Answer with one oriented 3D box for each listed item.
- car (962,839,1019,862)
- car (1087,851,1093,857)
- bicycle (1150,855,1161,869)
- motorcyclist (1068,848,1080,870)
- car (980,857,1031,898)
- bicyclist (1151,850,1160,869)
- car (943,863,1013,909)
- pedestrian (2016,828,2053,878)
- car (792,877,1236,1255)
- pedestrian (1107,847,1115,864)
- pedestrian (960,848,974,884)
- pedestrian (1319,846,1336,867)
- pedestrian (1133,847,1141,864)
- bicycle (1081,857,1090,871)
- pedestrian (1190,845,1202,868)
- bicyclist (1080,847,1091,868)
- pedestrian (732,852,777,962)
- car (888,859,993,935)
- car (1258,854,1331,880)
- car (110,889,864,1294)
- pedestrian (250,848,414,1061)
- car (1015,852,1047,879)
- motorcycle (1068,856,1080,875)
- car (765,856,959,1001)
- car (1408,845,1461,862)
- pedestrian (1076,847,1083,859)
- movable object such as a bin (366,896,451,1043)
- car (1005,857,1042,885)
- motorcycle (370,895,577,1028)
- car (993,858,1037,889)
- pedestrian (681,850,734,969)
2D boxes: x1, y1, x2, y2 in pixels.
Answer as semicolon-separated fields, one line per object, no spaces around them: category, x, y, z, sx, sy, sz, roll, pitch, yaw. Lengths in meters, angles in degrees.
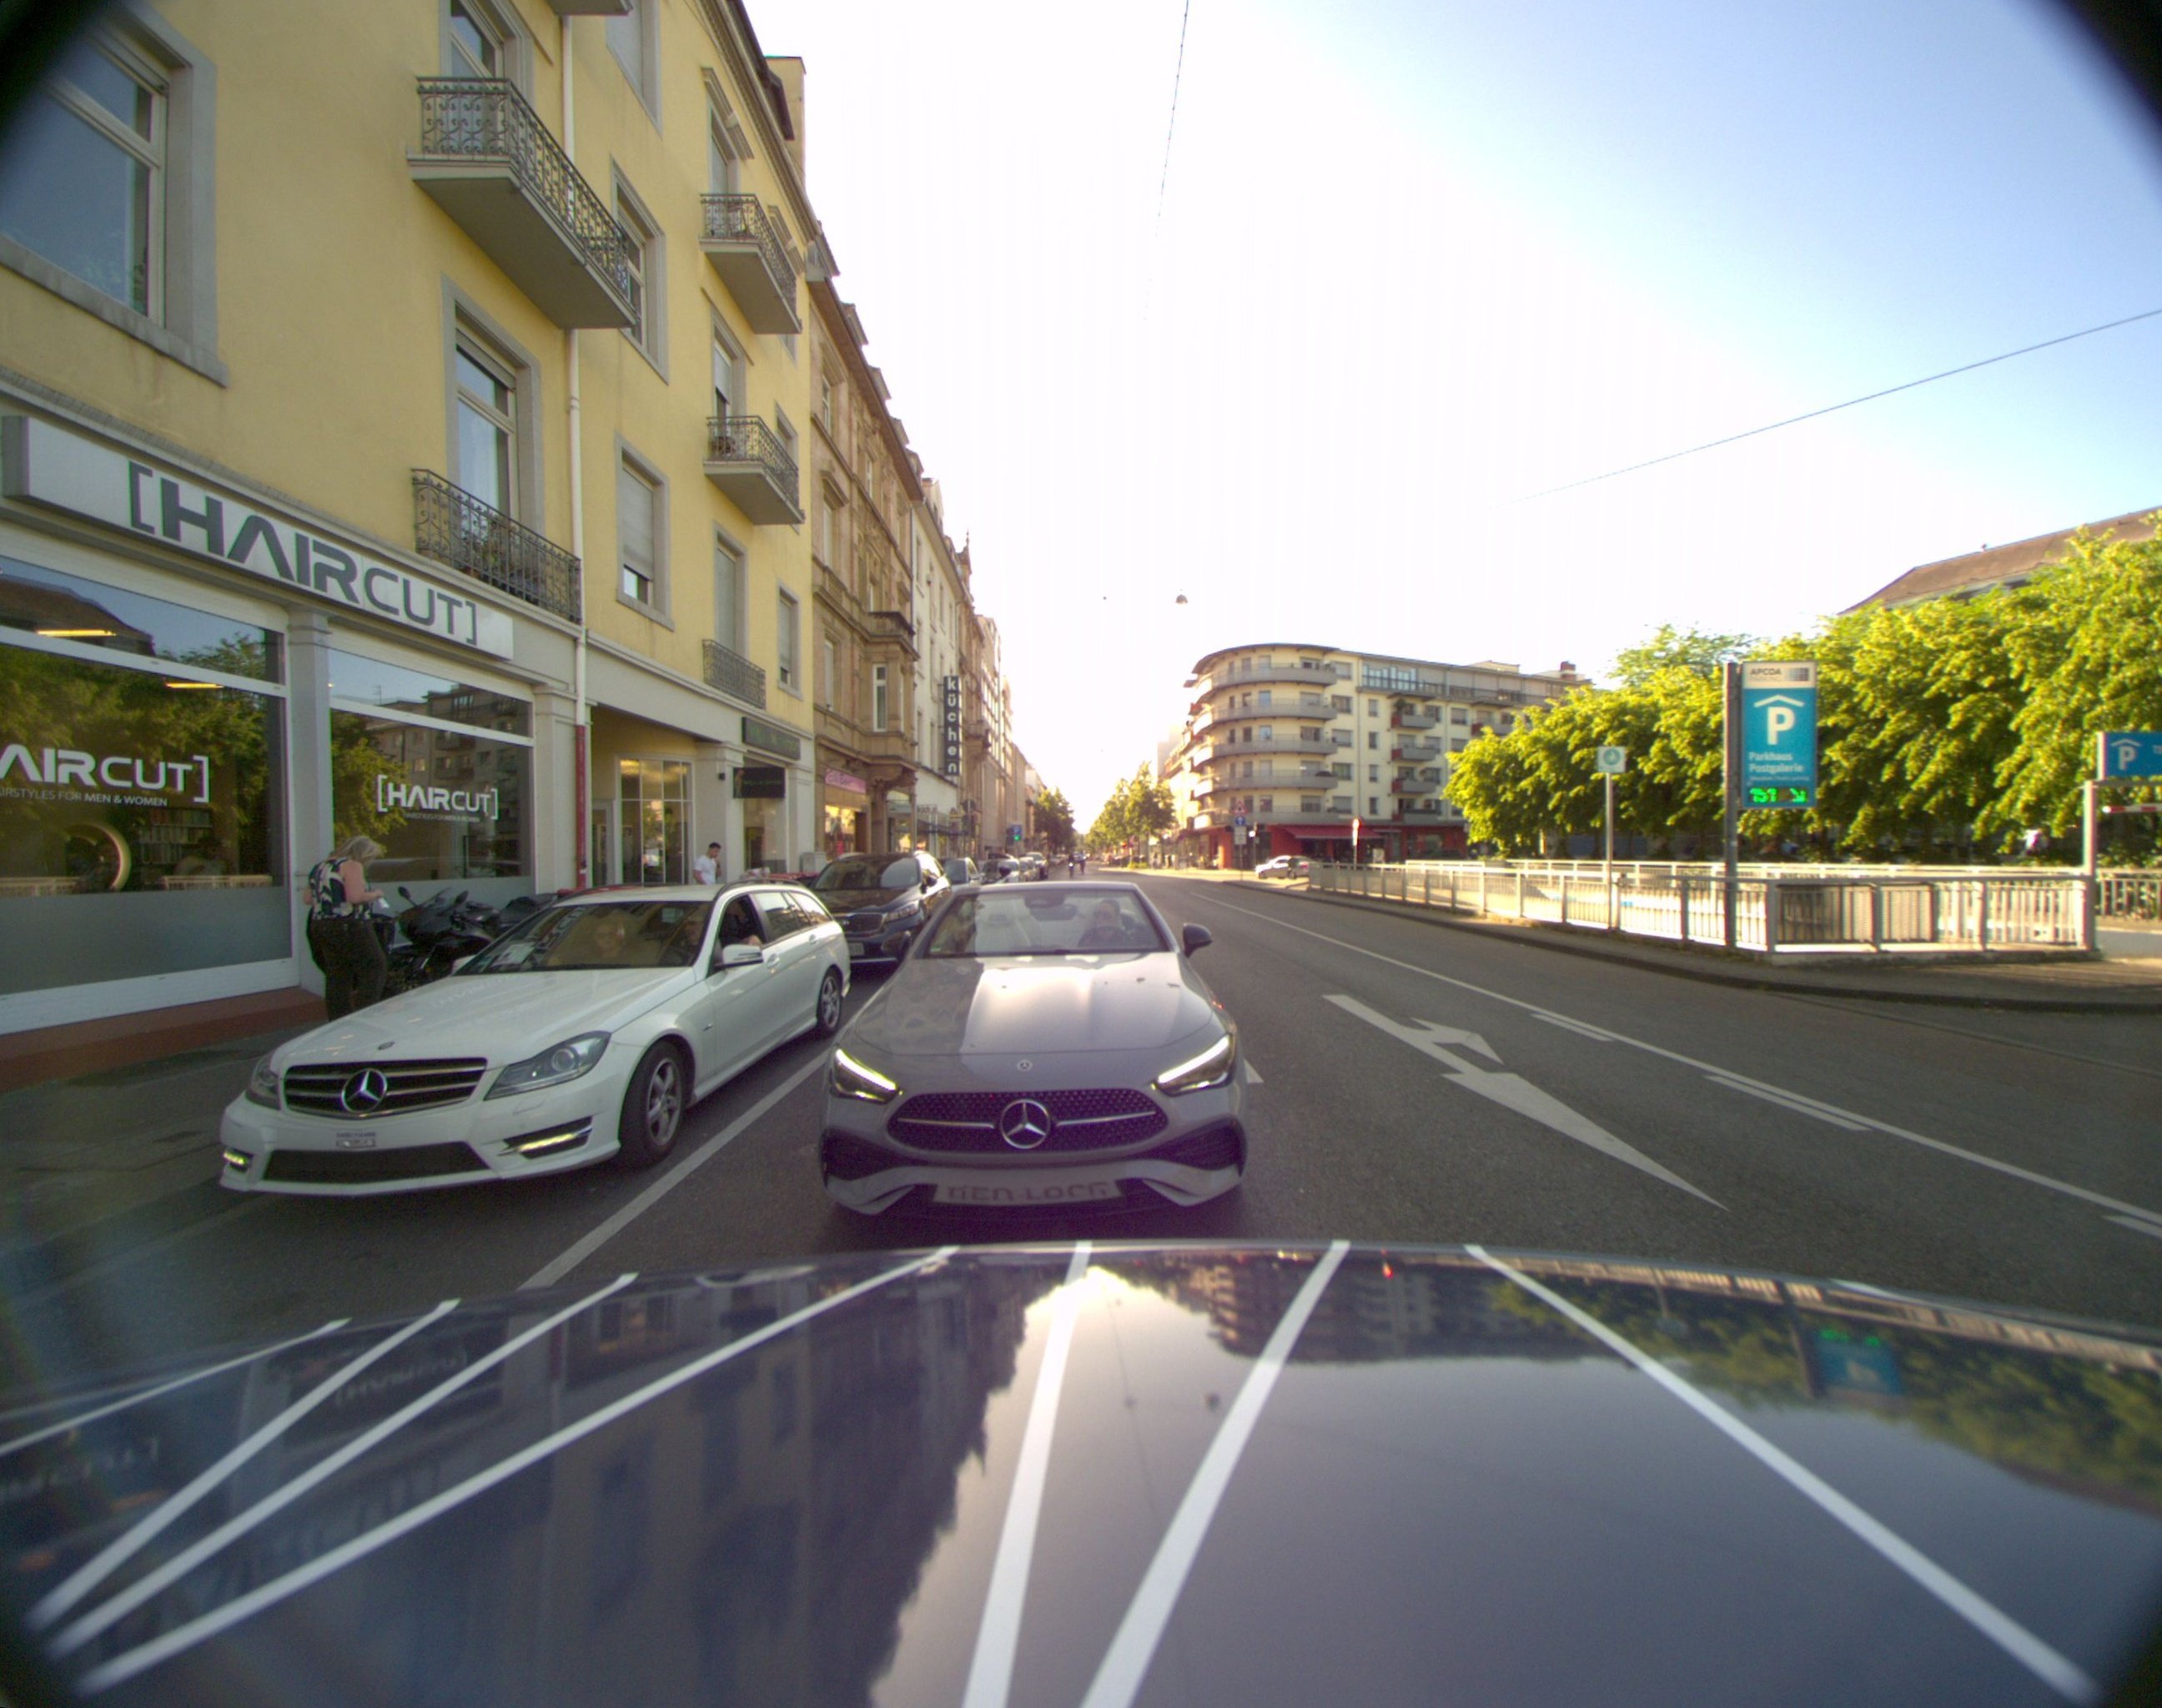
car;-6.831;-0.257;57.056;4.002;1.543;1.855;-2;1;-14
car;2.416;-0.116;197.762;1.615;1.534;3.931;-1;0;1
bicycle;6.310;0.659;64.347;0.527;1.163;1.592;-2;1;-8
motorcyclist;-0.481;0.326;50.987;0.722;1.438;0.705;-2;1;2
car;-2.978;0.885;30.738;1.660;1.423;4.085;-2;1;-1
bicyclist;6.295;0.467;64.352;0.525;1.539;0.798;-2;1;-8
car;-3.372;1.016;25.648;1.802;1.259;4.085;-2;1;-1
pedestrian;33.014;-0.032;26.304;0.647;1.711;0.607;-3;1;-19
car;-0.274;0.953;5.179;1.802;1.351;3.999;-2;1;0
pedestrian;3.698;0.153;92.597;0.860;2.002;0.889;-2;1;1
pedestrian;-5.946;0.622;39.715;0.574;1.840;0.665;-2;1;1
pedestrian;18.785;0.217;57.950;0.863;1.586;0.887;-3;1;-38
pedestrian;6.648;0.213;90.039;0.792;2.002;0.889;-2;1;1
bicycle;0.372;0.767;61.334;0.641;1.078;2.061;-1;0;0
pedestrian;10.291;0.179;67.956;0.860;2.002;0.889;-2;1;0
bicyclist;0.364;0.276;61.374;0.885;1.625;0.769;-2;0;0
pedestrian;-5.697;0.906;13.261;0.576;1.840;0.663;-3;1;-30
car;-3.296;0.941;18.575;1.802;1.518;4.085;-2;1;-1
car;12.720;0.756;45.502;1.827;1.346;4.254;0;1;-26
car;-3.037;1.072;5.281;1.704;1.351;4.378;-2;1;1
pedestrian;-6.070;0.778;6.192;0.719;1.644;0.606;1;1;1
car;-3.086;0.695;47.674;1.725;1.506;4.004;-2;1;-1
motorcycle;-0.461;0.778;51.045;0.720;1.177;1.906;-2;1;2
car;-2.985;0.905;11.329;1.803;1.629;4.243;-2;1;-3
car;29.046;-0.054;62.428;4.004;1.294;1.753;-2;1;-23
pedestrian;-0.224;-0.139;134.525;1.205;2.153;1.280;-2;1;1
movable object such as a bin;-5.927;1.000;6.708;0.391;1.231;0.394;1;1;1
car;-3.060;0.862;40.959;1.725;1.332;3.668;-2;1;-1
motorcycle;-6.205;1.041;7.921;0.567;1.072;1.954;2;1;1
car;-3.156;0.904;36.928;1.802;1.332;3.838;-2;1;-1
pedestrian;-6.356;0.914;12.943;0.373;1.971;0.695;0;1;23
